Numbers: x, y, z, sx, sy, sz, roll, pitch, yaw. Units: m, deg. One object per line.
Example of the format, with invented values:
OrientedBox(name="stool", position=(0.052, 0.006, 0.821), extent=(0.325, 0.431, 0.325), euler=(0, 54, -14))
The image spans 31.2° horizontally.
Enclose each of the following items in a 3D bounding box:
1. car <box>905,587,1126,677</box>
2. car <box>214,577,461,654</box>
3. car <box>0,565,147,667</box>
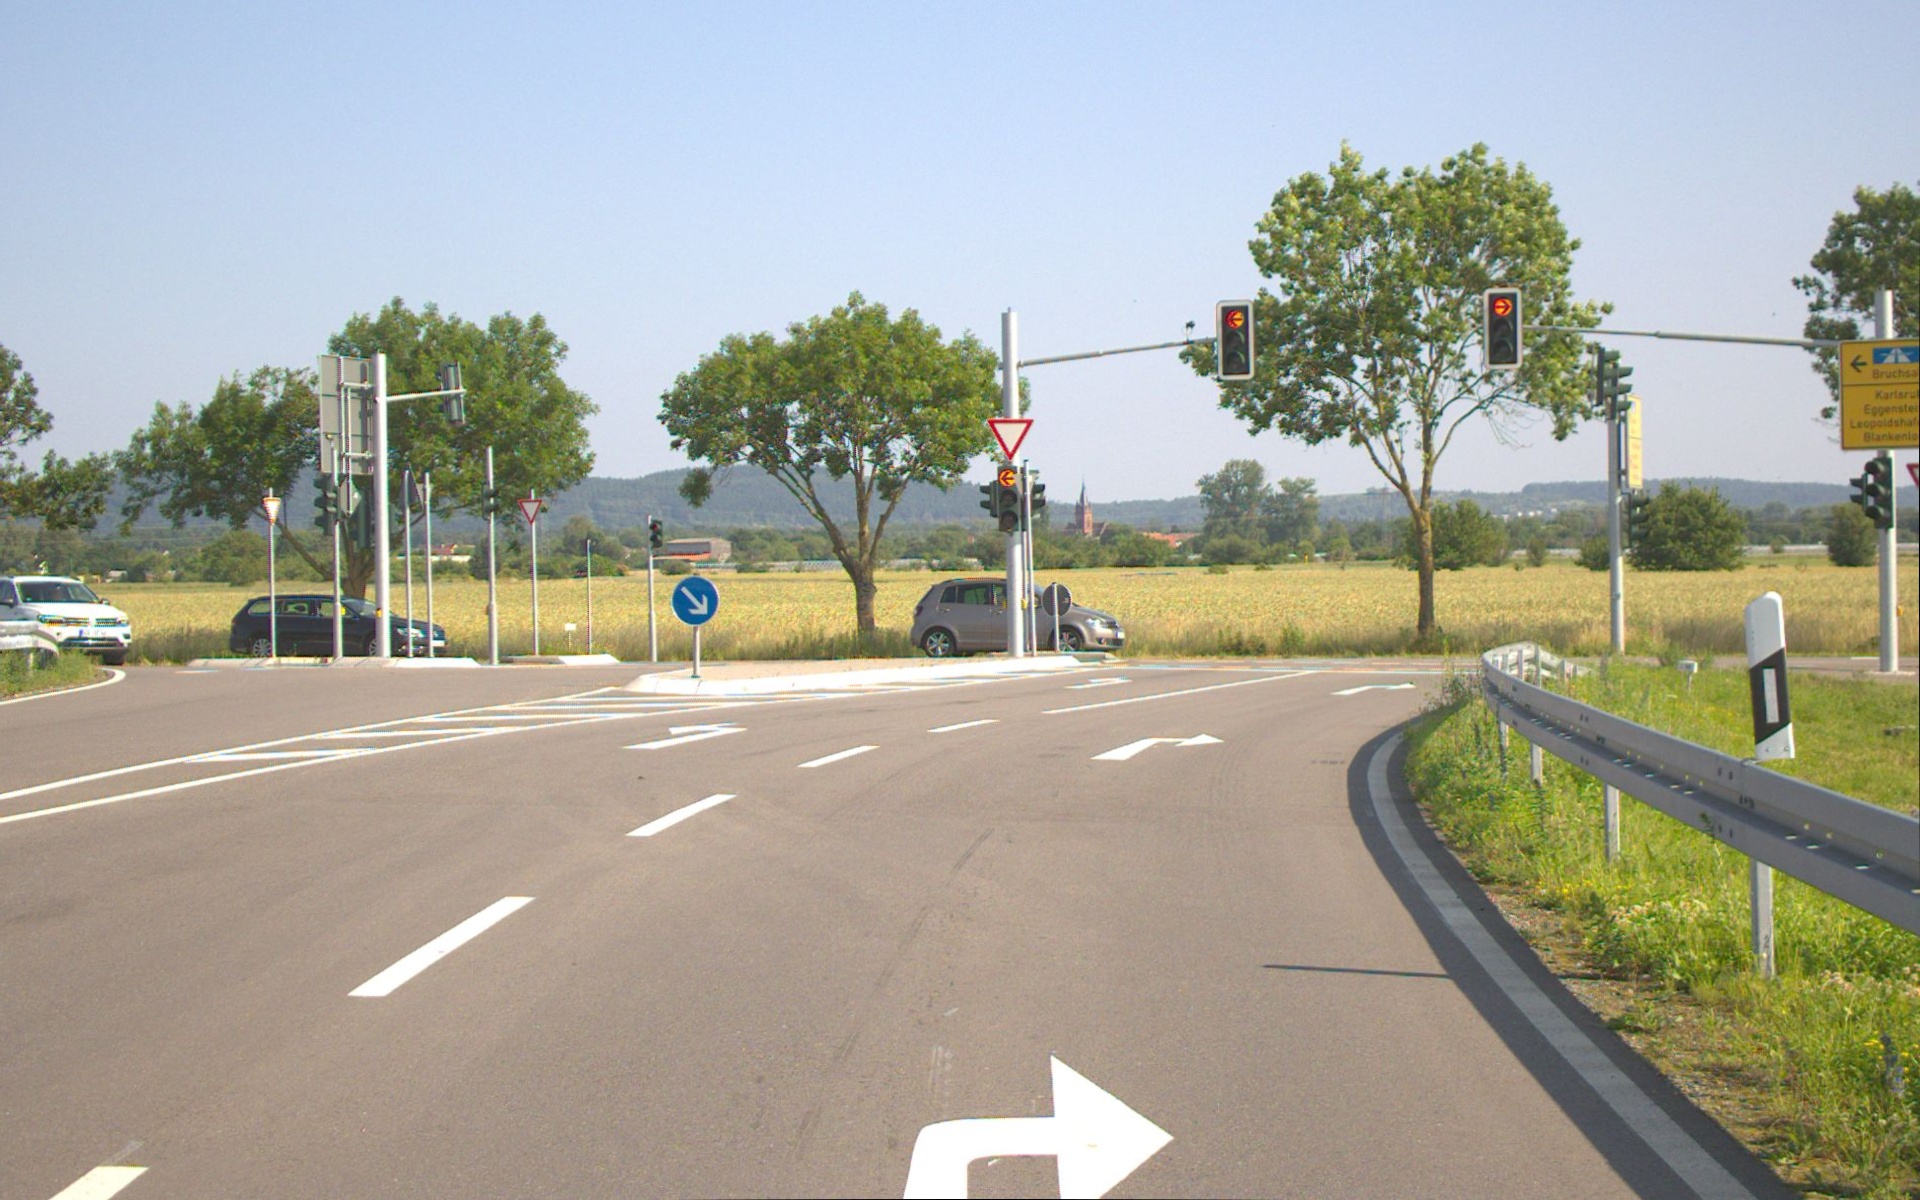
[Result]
OrientedBox(name="car", position=(1.097, 0.615, 67.024), extent=(3.958, 1.662, 1.762), euler=(1, 0, 16))
OrientedBox(name="car", position=(-12.943, 0.313, 71.577), extent=(4.676, 1.514, 1.921), euler=(0, 2, 15))
OrientedBox(name="car", position=(-16.559, 0.321, 61.987), extent=(1.692, 1.668, 4.861), euler=(2, -3, -39))
